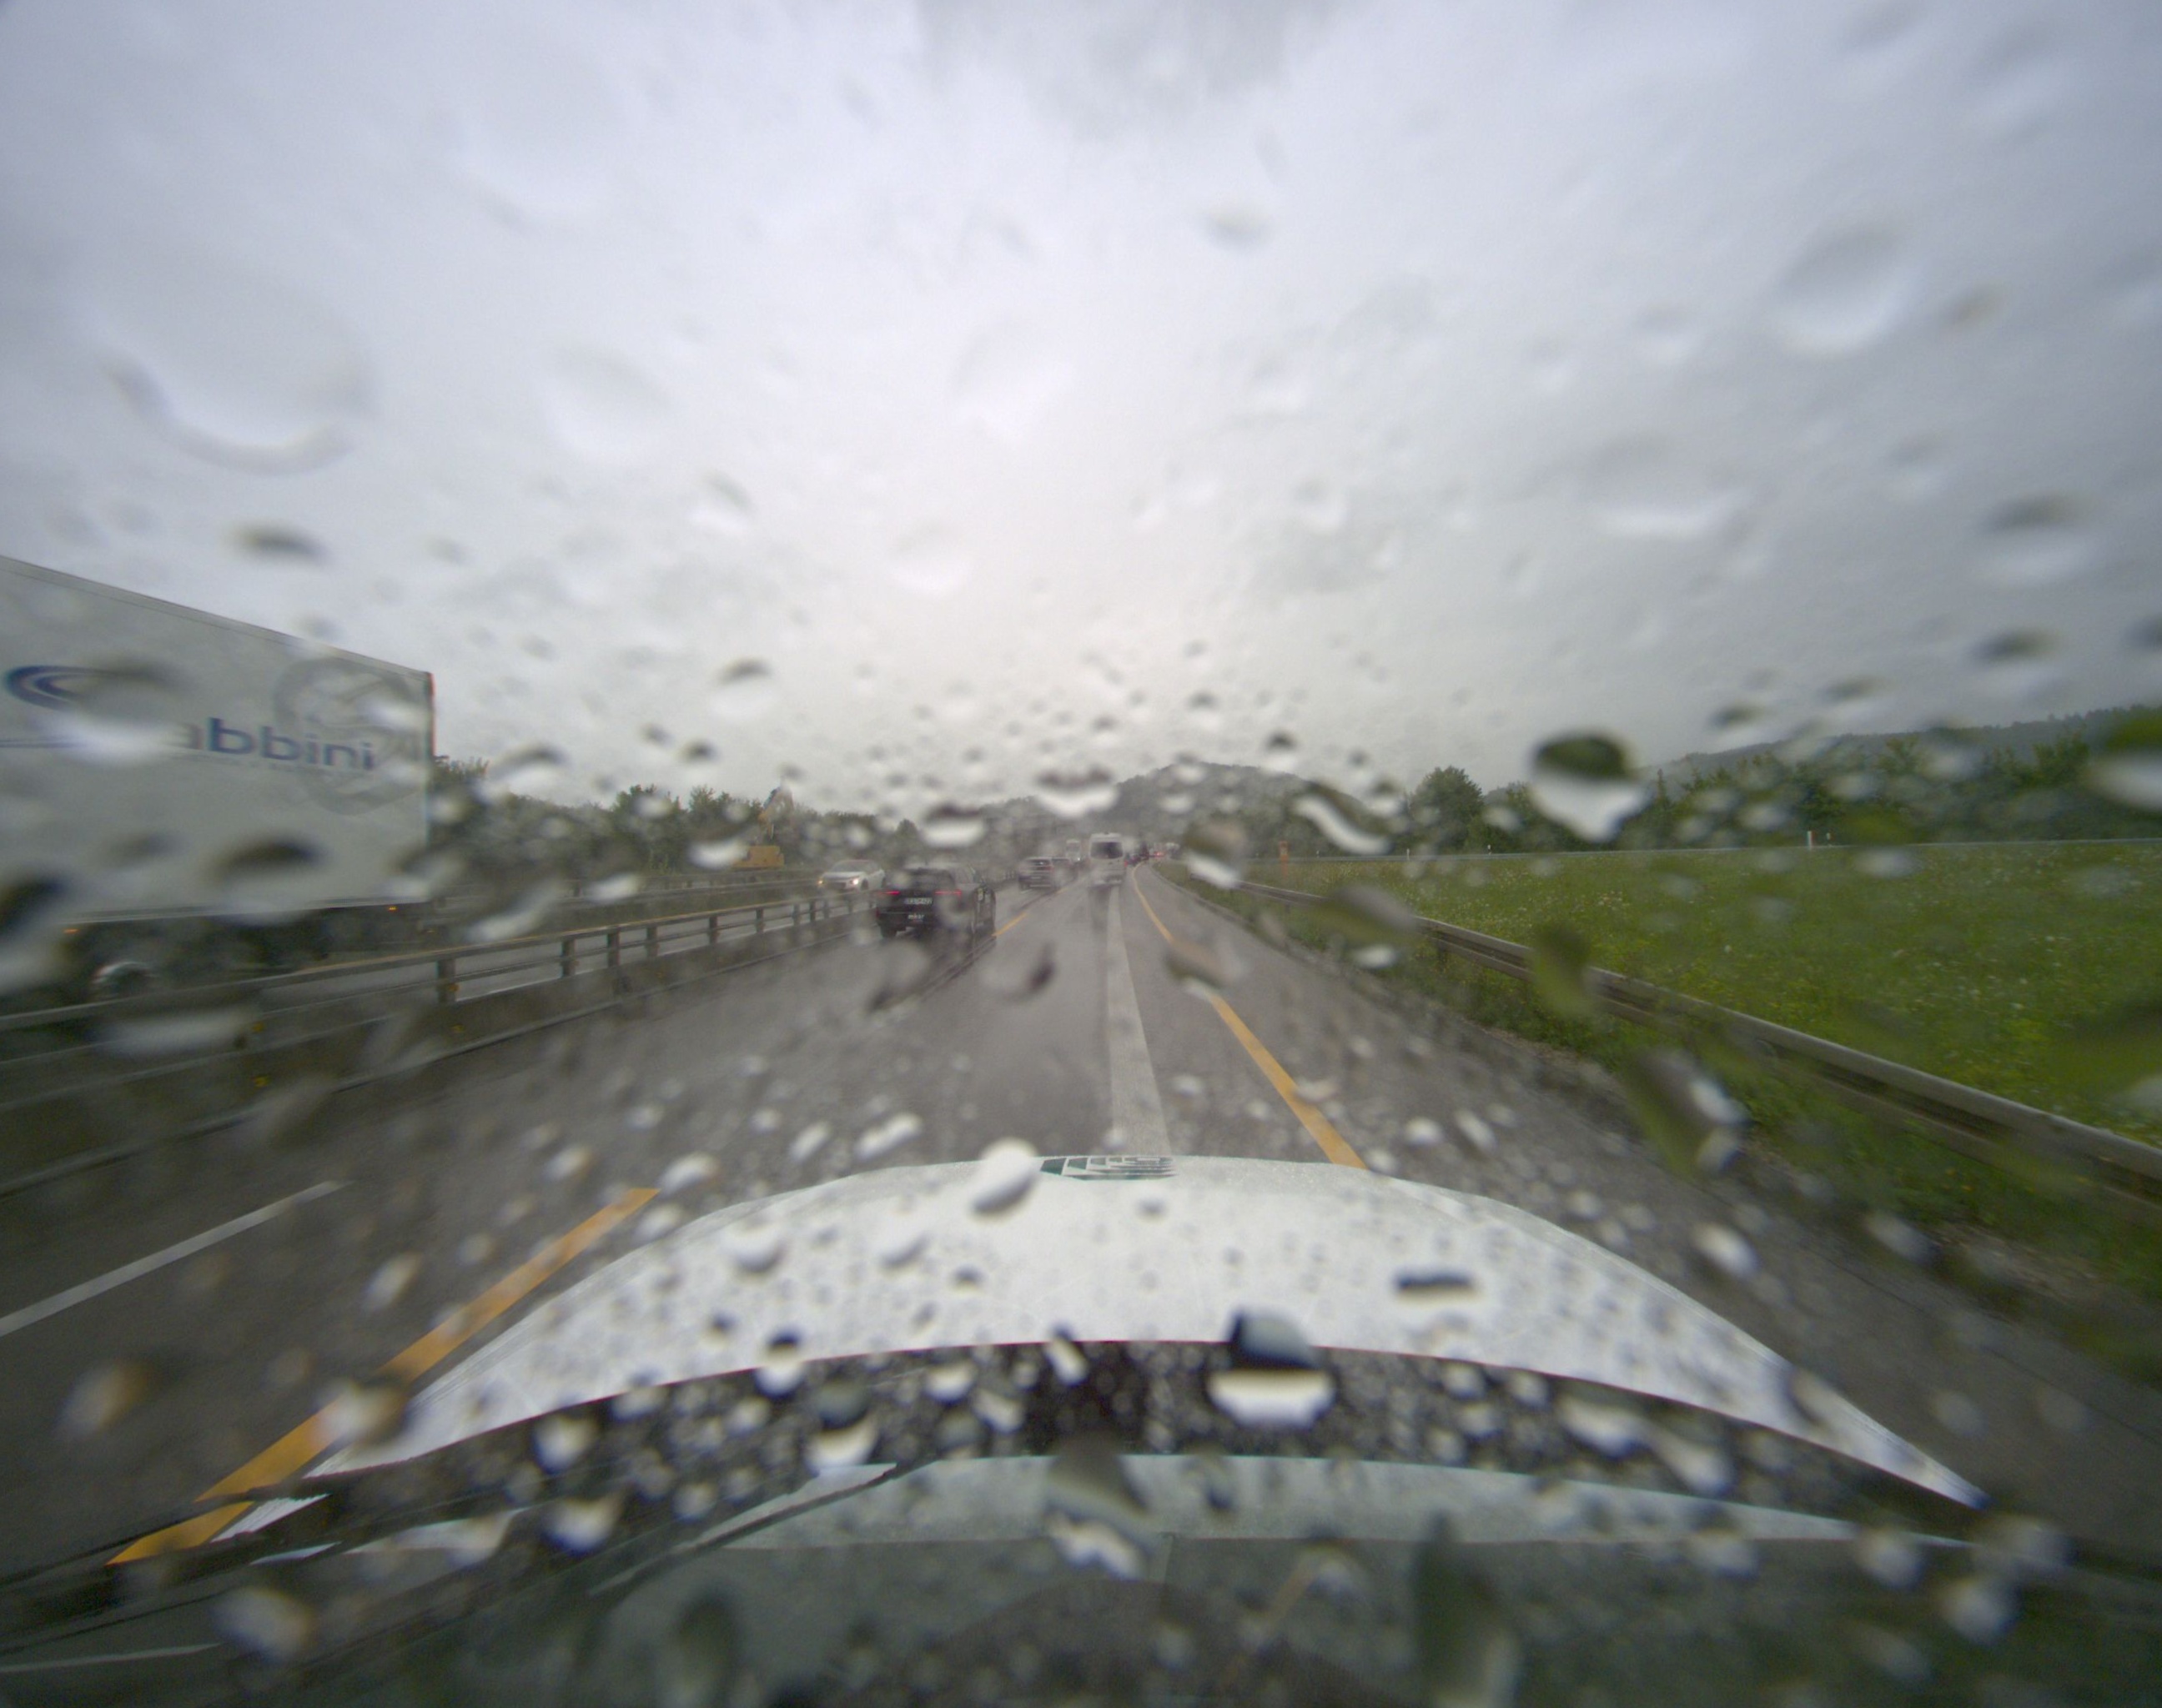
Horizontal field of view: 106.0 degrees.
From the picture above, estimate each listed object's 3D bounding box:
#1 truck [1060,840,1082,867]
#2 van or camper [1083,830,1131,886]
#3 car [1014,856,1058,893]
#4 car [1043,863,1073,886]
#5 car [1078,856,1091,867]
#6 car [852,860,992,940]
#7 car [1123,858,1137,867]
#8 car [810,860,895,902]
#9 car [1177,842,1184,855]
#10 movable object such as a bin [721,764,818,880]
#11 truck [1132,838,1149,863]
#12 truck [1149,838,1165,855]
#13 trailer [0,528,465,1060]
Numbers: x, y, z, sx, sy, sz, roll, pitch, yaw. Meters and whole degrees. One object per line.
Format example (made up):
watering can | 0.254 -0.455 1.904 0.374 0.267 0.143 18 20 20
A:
truck | -1.612 -0.036 137.055 2.994 4.272 6.808 -2 -1 4
van or camper | 1.283 0.199 42.055 2.134 2.721 4.645 -1 0 -2
car | -2.127 0.946 39.583 1.861 1.659 3.988 -1 0 1
car | -1.519 1.373 55.826 1.846 1.500 4.000 -1 0 1
car | 0.372 0.731 81.519 1.258 1.078 3.255 -1 0 1
car | -3.112 0.839 16.983 1.932 1.427 4.760 0 0 0
car | 6.041 1.064 100.888 1.381 1.078 3.120 -1 0 -2
car | -8.827 1.000 31.882 1.986 1.505 4.298 -1 -1 2
car | 31.850 -1.822 260.980 2.047 4.192 6.759 -1 0 7
movable object such as a bin | -23.413 -2.237 61.855 3.579 8.143 8.318 0 -1 5
truck | 12.145 -0.633 164.612 3.305 4.785 9.919 0 -1 5
truck | 21.534 -2.038 230.827 3.905 4.785 9.932 0 -1 9
trailer | -9.793 -0.423 4.604 2.896 4.089 12.225 -1 0 2
